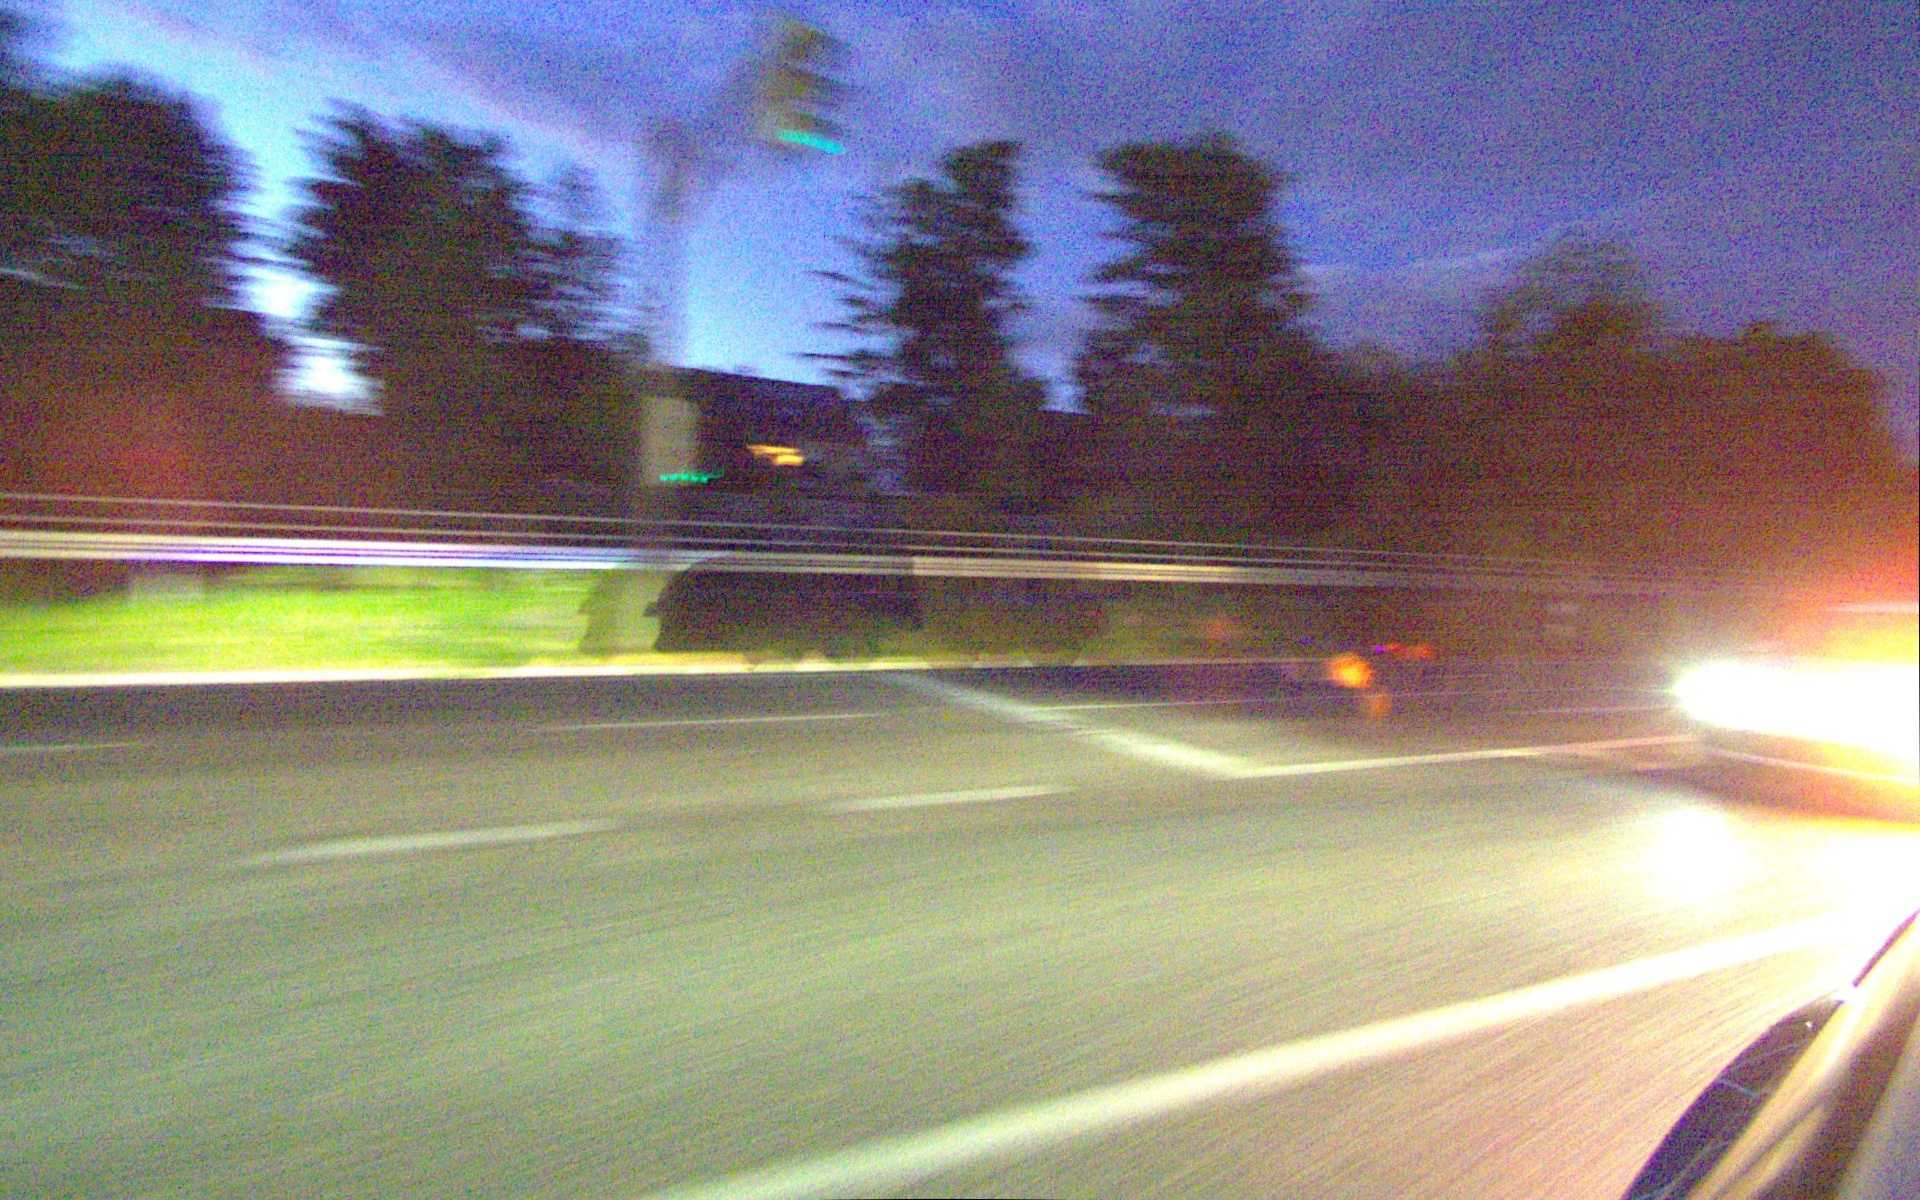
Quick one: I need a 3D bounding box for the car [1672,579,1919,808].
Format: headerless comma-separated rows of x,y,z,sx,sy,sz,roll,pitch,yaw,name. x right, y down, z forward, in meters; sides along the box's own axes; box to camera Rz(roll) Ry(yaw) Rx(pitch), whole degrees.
7.916,0.643,8.164,4.106,1.477,1.767,1,2,-26,car
